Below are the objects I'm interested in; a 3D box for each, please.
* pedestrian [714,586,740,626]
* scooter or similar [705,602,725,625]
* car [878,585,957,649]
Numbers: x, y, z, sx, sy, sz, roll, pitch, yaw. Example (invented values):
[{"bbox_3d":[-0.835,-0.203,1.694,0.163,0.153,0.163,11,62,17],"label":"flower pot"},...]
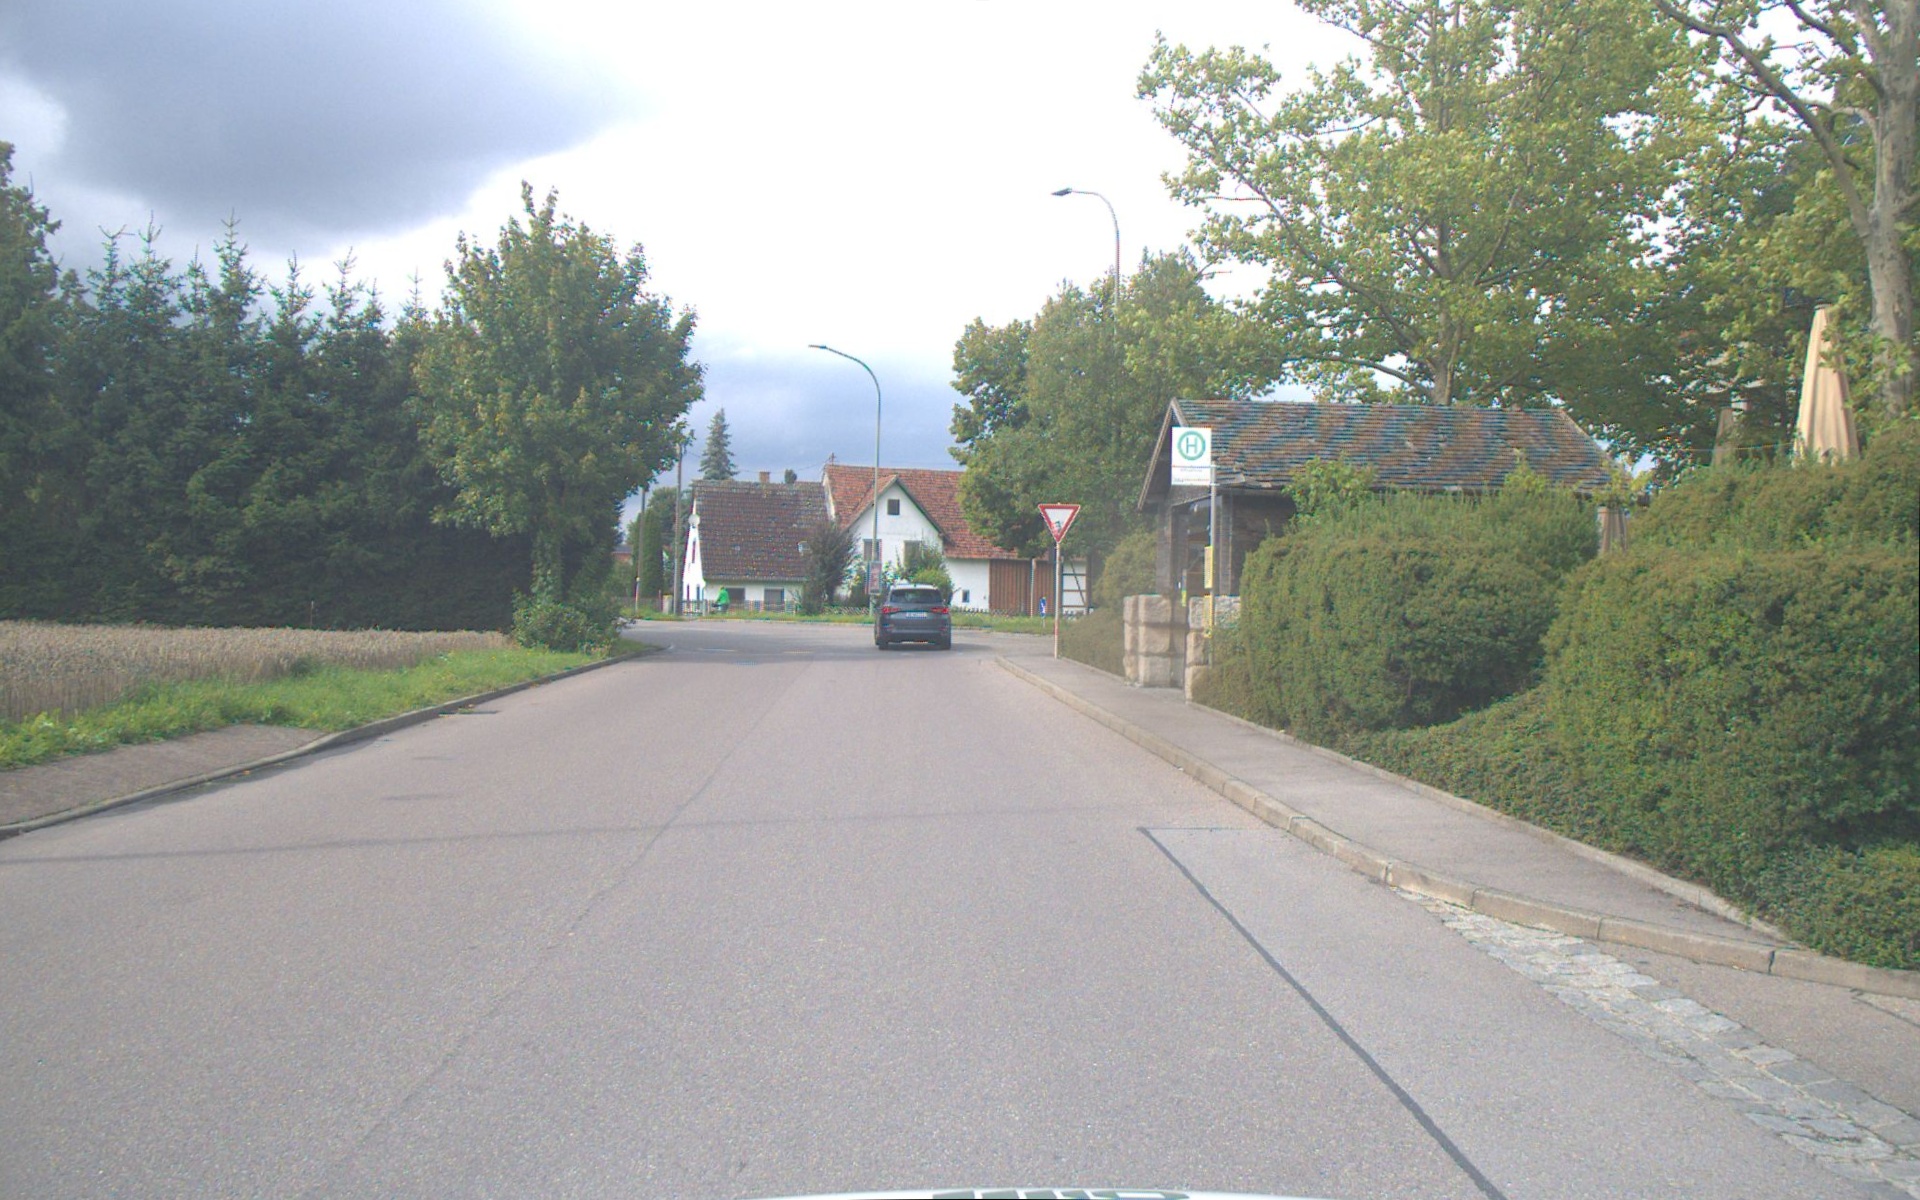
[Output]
[{"bbox_3d":[-10.332,0.244,73.224,0.782,1.694,0.703,6,-3,-35],"label":"pedestrian"},{"bbox_3d":[-10.906,0.590,73.697,0.625,0.964,0.614,6,-3,-35],"label":"scooter or similar"},{"bbox_3d":[-1.093,0.391,41.235,1.763,1.488,3.659,1,0,-5],"label":"car"}]
